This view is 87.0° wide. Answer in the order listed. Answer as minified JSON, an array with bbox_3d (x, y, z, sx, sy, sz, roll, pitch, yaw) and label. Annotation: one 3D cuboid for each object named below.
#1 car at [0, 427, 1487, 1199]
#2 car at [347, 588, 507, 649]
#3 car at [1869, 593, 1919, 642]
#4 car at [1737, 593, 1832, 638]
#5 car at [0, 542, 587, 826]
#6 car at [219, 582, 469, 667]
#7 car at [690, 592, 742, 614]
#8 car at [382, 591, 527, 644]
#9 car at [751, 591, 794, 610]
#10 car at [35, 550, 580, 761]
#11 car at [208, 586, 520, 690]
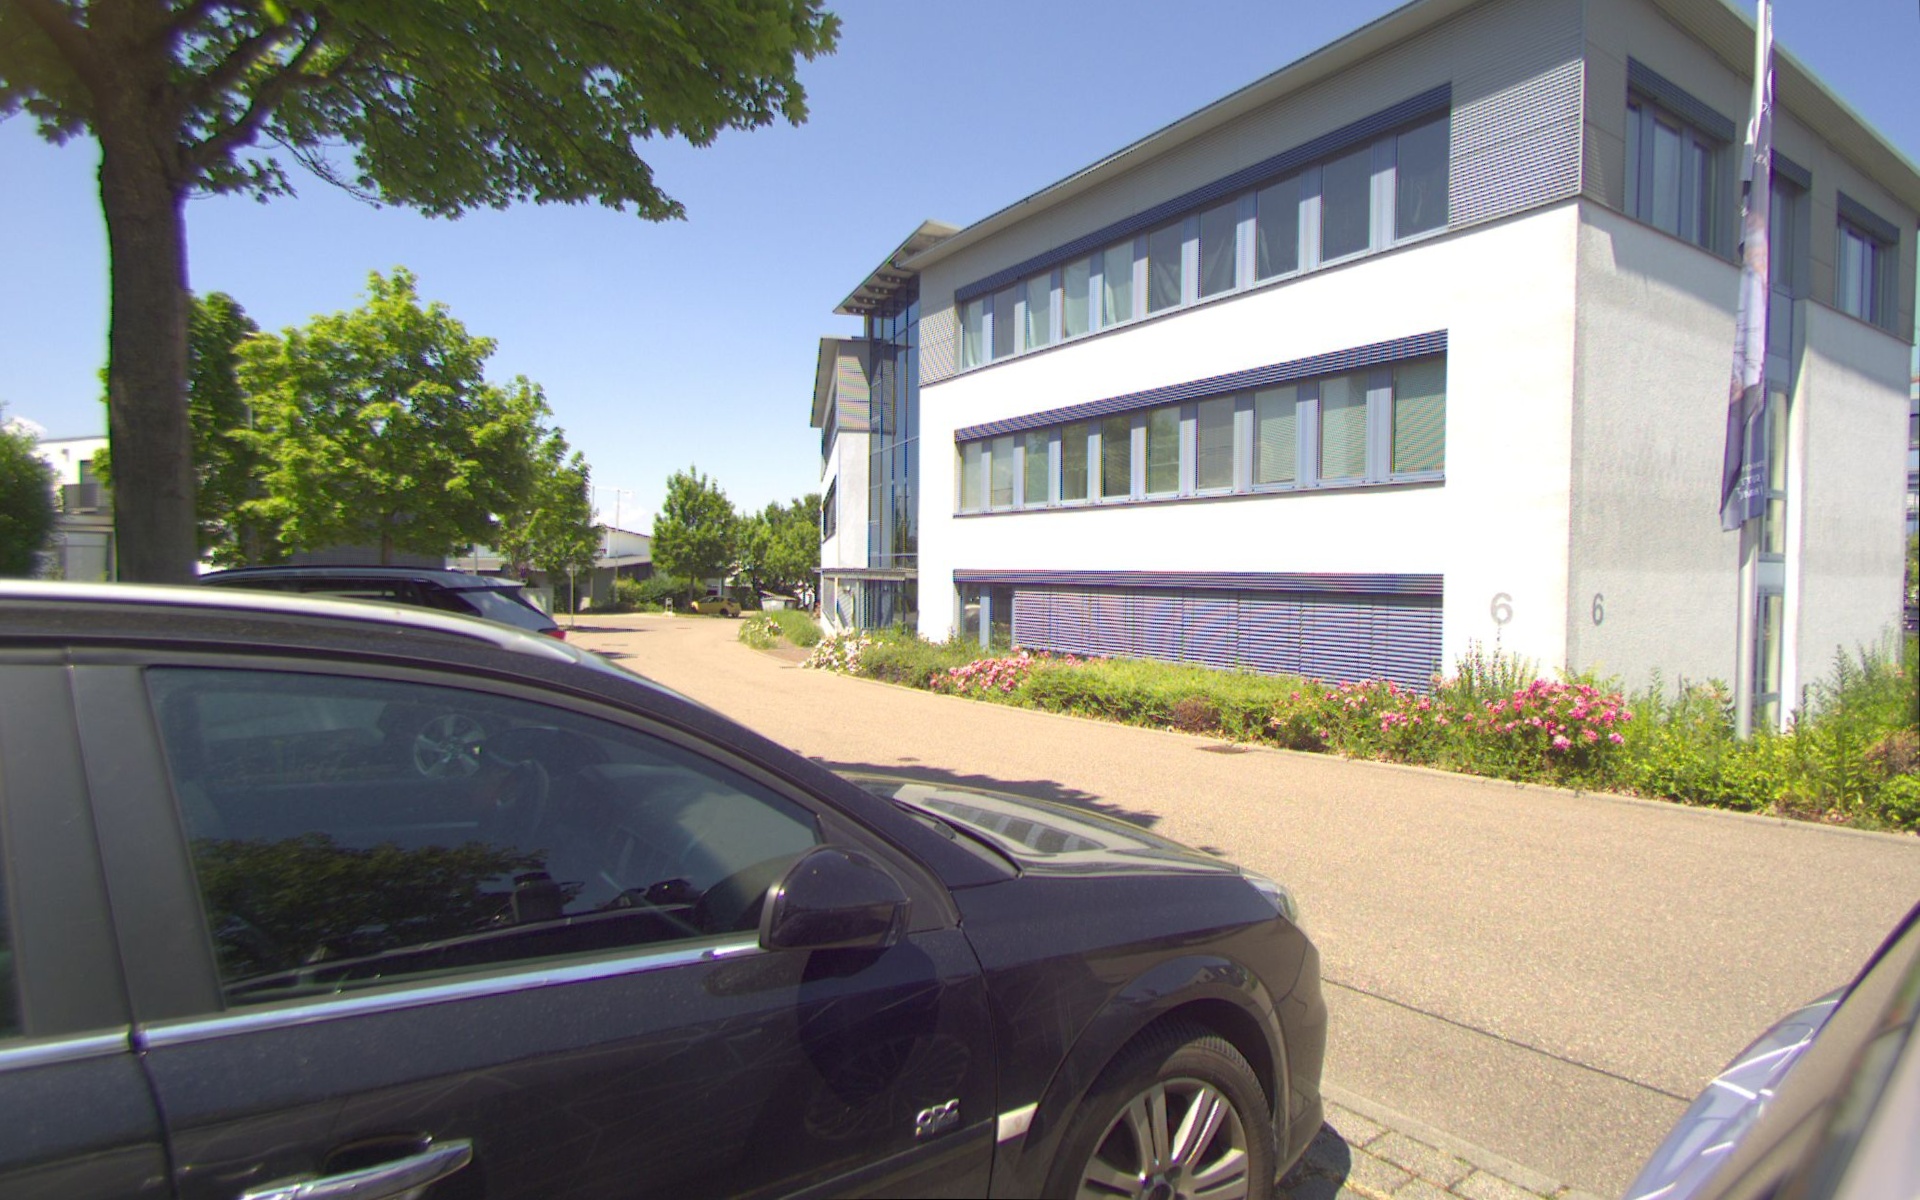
[{"bbox_3d":[-1.027,0.626,1.835,4.480,1.569,1.763,0,0,-37],"label":"car"},{"bbox_3d":[-14.222,0.498,27.179,3.514,1.545,1.639,1,-1,-17],"label":"car"},{"bbox_3d":[32.706,0.554,34.501,3.925,1.565,1.788,-1,0,-36],"label":"car"},{"bbox_3d":[30.603,0.533,37.529,3.925,1.565,1.788,-1,0,-36],"label":"car"},{"bbox_3d":[-5.160,0.506,7.361,4.249,1.664,1.857,1,-1,-35],"label":"car"},{"bbox_3d":[-12.399,0.499,20.692,4.090,1.625,1.664,1,-1,-21],"label":"car"},{"bbox_3d":[-17.140,0.199,71.082,3.172,1.460,1.580,0,0,18],"label":"car"},{"bbox_3d":[-14.664,0.504,29.528,3.514,1.461,1.639,1,-1,-17],"label":"car"},{"bbox_3d":[-15.250,0.032,82.346,3.172,1.460,1.580,0,0,18],"label":"car"},{"bbox_3d":[-6.064,0.471,9.867,4.122,1.664,1.661,1,-1,-35],"label":"car"},{"bbox_3d":[-9.347,0.579,16.222,4.092,1.505,1.663,1,-1,-27],"label":"car"}]
